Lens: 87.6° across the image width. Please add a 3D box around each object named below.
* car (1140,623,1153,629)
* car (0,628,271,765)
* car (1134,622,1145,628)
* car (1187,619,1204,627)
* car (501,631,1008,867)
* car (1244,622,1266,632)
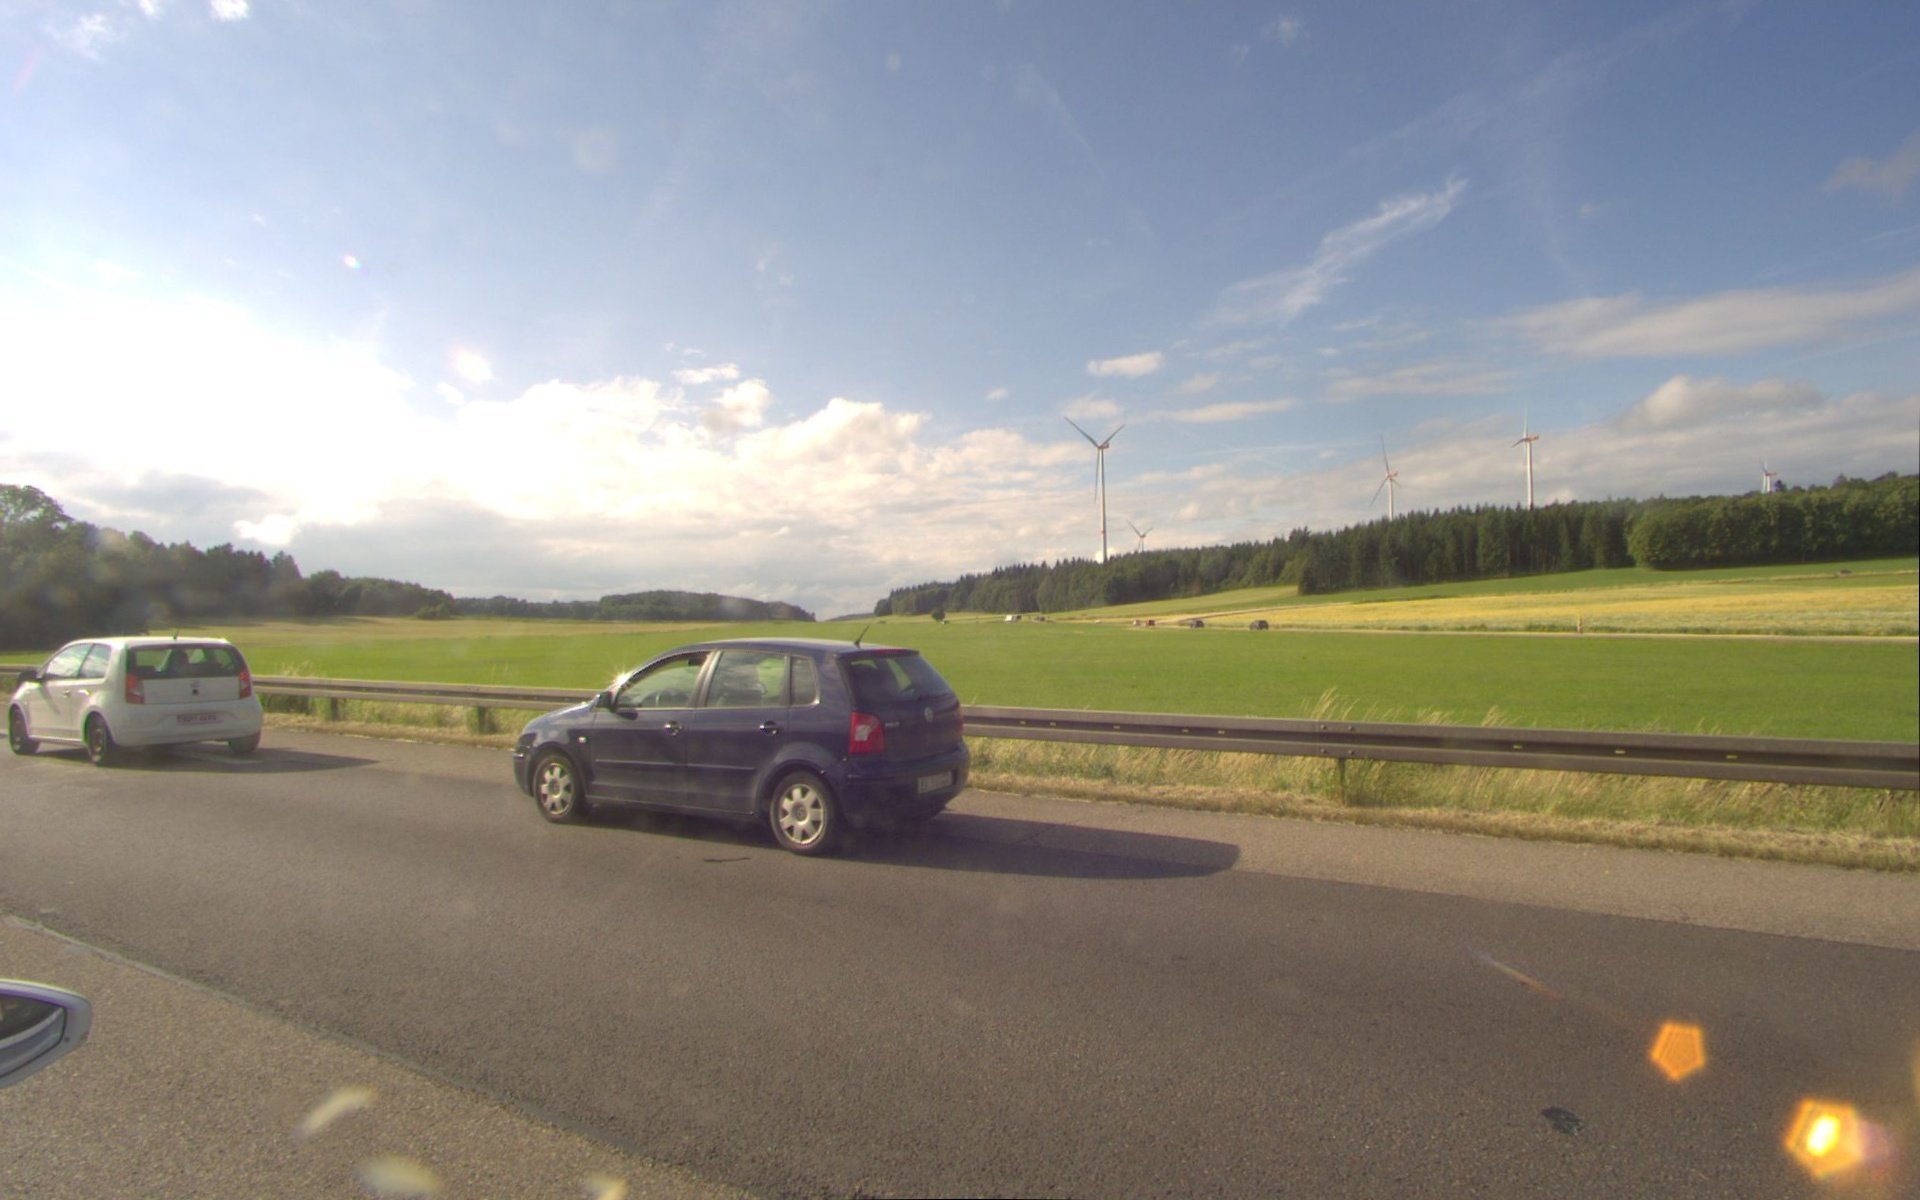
[{"bbox_3d":[42.832,5.972,229.486,1.803,1.505,4.221,0,-2,-6],"label":"car"},{"bbox_3d":[-10.440,1.122,12.657,3.326,1.514,1.547,0,-1,29],"label":"car"},{"bbox_3d":[46.006,6.444,256.735,1.803,1.505,4.288,0,-2,-6],"label":"car"},{"bbox_3d":[43.270,4.245,184.195,1.803,1.505,4.221,0,-2,-6],"label":"car"},{"bbox_3d":[-1.663,0.993,7.879,3.717,1.464,1.709,-2,-2,29],"label":"car"},{"bbox_3d":[44.406,4.115,150.847,1.803,1.505,4.221,0,-2,-6],"label":"car"}]
